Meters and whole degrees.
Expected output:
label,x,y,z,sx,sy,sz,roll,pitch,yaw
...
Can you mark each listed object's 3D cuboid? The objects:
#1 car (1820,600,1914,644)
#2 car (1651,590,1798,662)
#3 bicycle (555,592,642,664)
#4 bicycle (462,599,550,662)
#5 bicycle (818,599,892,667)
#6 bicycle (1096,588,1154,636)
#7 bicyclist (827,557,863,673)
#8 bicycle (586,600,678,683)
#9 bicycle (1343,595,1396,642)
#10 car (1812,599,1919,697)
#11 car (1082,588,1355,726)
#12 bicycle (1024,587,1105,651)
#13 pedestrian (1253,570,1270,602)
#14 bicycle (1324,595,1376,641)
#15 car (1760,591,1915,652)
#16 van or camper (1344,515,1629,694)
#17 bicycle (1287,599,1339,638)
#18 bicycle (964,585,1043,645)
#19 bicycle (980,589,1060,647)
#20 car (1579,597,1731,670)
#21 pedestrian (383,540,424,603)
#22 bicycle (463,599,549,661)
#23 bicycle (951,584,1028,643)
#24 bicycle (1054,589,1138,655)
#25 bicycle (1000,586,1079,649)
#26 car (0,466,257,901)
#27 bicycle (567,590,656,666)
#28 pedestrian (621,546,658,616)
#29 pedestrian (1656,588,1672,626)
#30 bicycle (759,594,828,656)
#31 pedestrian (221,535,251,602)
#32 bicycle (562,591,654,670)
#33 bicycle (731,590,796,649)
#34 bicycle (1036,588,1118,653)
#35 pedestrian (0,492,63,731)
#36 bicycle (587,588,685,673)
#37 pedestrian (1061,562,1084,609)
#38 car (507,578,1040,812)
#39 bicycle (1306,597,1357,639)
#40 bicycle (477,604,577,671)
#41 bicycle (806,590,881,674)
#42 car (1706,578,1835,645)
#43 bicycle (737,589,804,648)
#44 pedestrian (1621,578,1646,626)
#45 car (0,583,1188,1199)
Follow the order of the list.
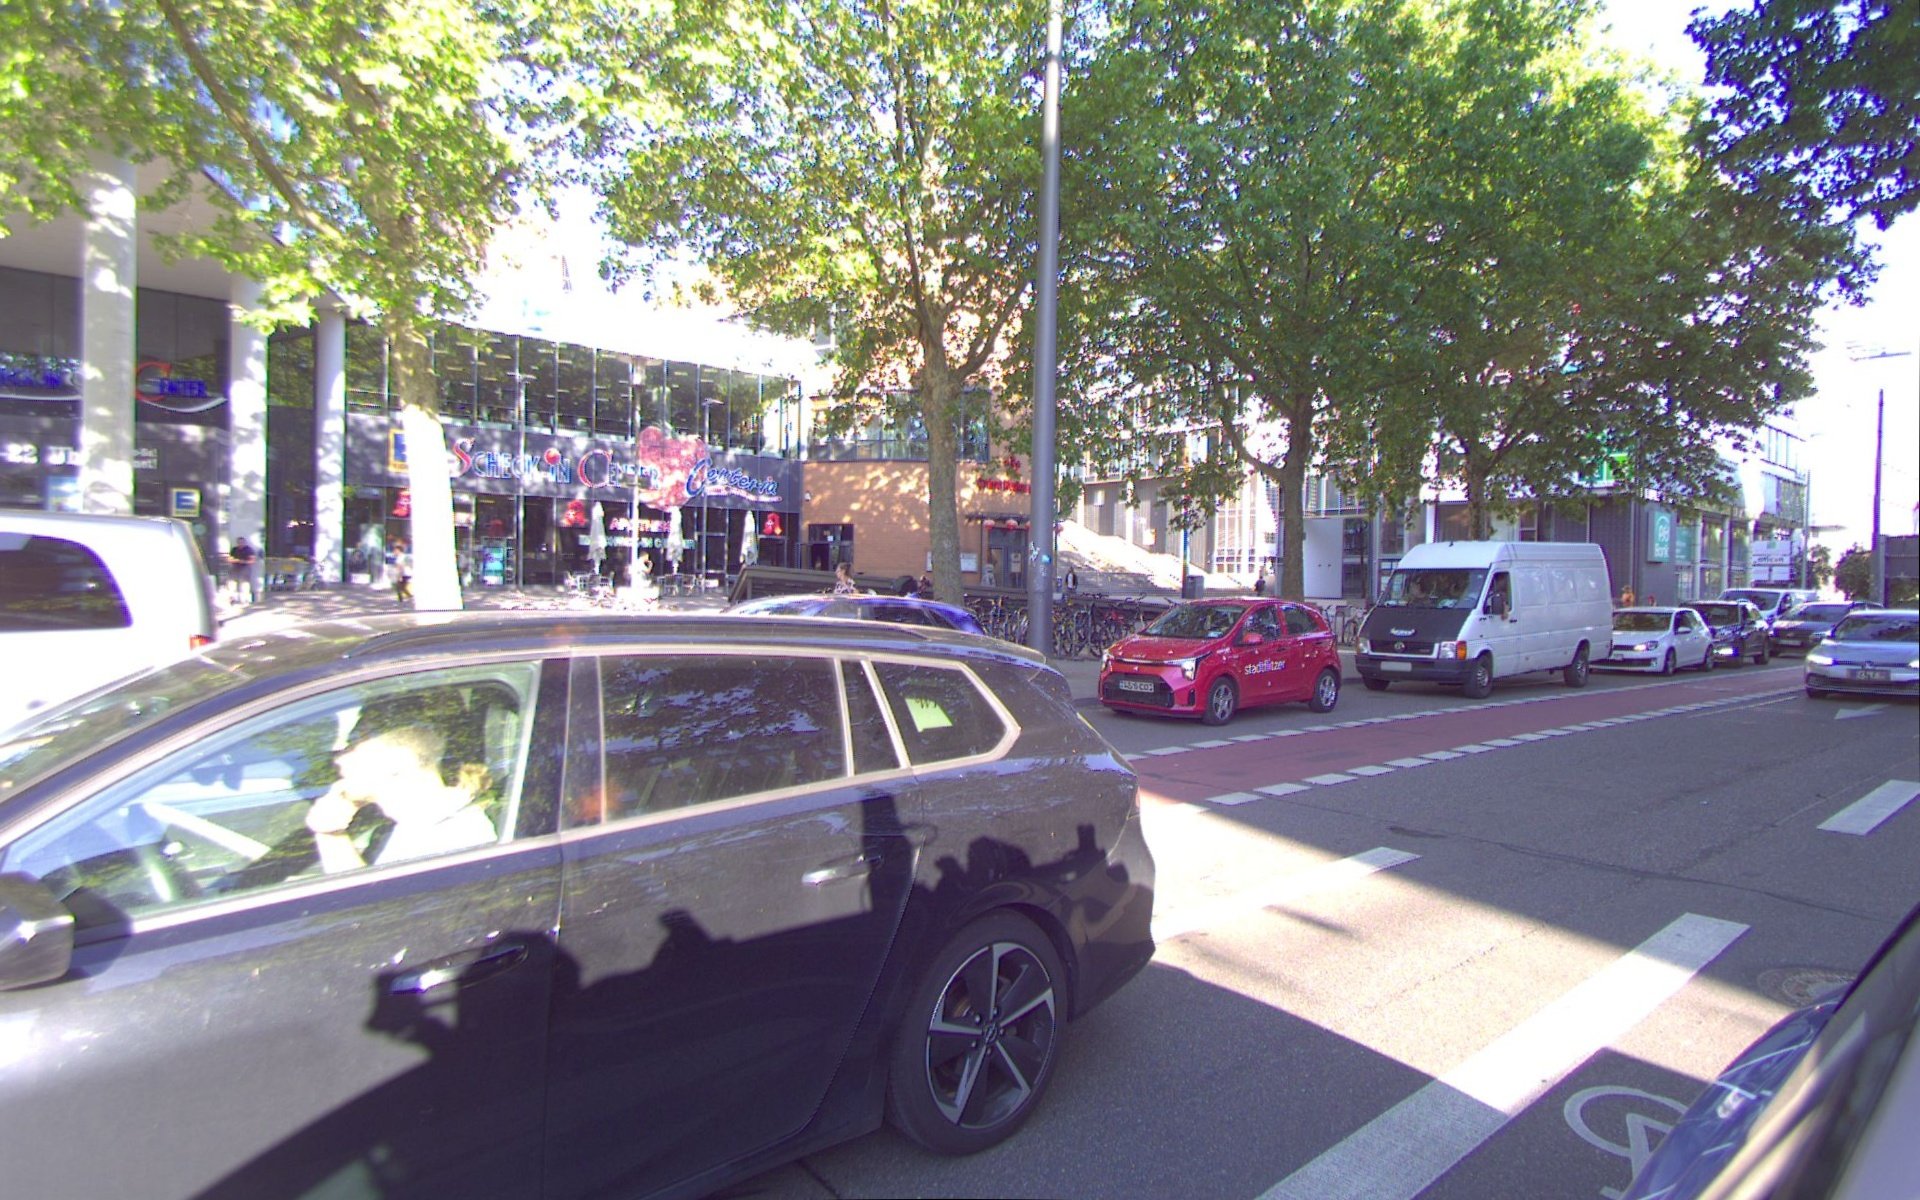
label,x,y,z,sx,sy,sz,roll,pitch,yaw
car,32.032,0.741,35.713,3.927,1.394,1.802,0,2,-38
car,19.117,0.593,25.258,4.148,1.640,1.819,0,1,-36
bicycle,-5.803,0.432,16.281,0.414,1.110,1.269,2,1,41
bicycle,-6.957,0.455,15.542,1.198,0.930,0.442,1,1,-22
bicycle,-1.770,0.539,17.117,1.202,1.110,0.420,0,1,-40
bicycle,4.414,0.308,27.038,1.759,1.209,0.517,0,2,-41
bicyclist,-1.797,0.228,15.814,0.392,1.782,0.390,0,1,-41
bicycle,-4.579,0.566,14.180,1.202,1.110,0.269,0,1,-40
bicycle,11.034,0.480,27.232,1.818,1.209,0.521,0,2,-41
car,15.579,0.714,16.625,3.928,1.458,1.733,0,0,-39
car,3.356,0.610,12.826,3.588,1.476,1.605,0,1,-41
bicycle,2.112,0.364,20.258,1.818,1.209,0.484,0,2,-41
pedestrian,15.064,-0.699,50.553,0.707,1.578,0.638,1,1,14
bicycle,10.666,0.470,27.631,1.818,1.209,0.495,0,2,-41
car,25.258,0.583,29.115,4.242,1.640,1.970,0,1,-28
van or camper,9.322,0.054,17.572,6.456,2.611,1.998,0,0,-39
bicycle,9.927,0.507,28.453,1.818,1.046,0.515,0,2,-41
bicycle,0.936,0.298,21.347,1.818,1.209,0.458,0,1,-41
bicycle,1.257,0.353,20.968,1.818,1.139,0.484,0,2,-41
car,15.330,0.678,22.265,3.927,1.446,1.683,0,1,-38
pedestrian,-15.608,-0.804,28.400,0.801,1.728,0.709,2,1,33
bicycle,-7.119,0.464,15.919,1.198,0.938,0.465,1,1,-22
bicycle,0.638,0.273,21.700,1.818,1.209,0.434,0,1,-41
bicycle,2.622,0.400,19.364,1.818,1.209,0.481,0,2,-41
bicycle,1.630,0.341,20.519,1.818,1.209,0.447,0,1,-41
car,-6.202,0.359,4.386,5.008,2.004,1.940,0,2,-41
bicycle,-5.358,0.407,15.587,0.372,1.110,1.269,2,1,41
pedestrian,-8.495,-0.499,26.846,0.869,1.805,0.604,1,1,-11
pedestrian,26.494,0.265,38.083,0.492,1.392,0.301,0,1,-37
bicycle,-3.100,0.446,18.847,1.202,1.110,0.427,0,1,-40
pedestrian,-18.746,-0.803,26.216,0.506,1.707,0.604,1,1,-23
bicycle,-5.156,0.426,14.839,1.202,1.110,0.396,0,1,-40
bicycle,-3.886,0.374,20.048,1.202,1.110,0.429,0,1,-40
bicycle,2.300,0.390,19.749,1.818,1.209,0.448,0,1,-41
pedestrian,-7.733,0.084,8.109,0.800,1.868,0.642,1,1,-42
bicycle,-4.433,0.401,13.883,1.202,1.110,0.413,0,1,-40
pedestrian,5.008,-0.633,45.033,0.575,2.062,0.876,1,1,-35
car,-1.407,0.604,8.647,4.177,1.503,1.742,0,2,-41
bicycle,10.310,0.482,28.043,1.766,1.108,0.522,0,2,-41
bicycle,-6.237,0.520,14.595,1.231,0.898,0.462,0,1,-40
bicycle,-1.810,0.482,15.816,1.126,1.271,0.379,0,1,-41
car,26.309,0.345,32.801,4.863,2.020,1.968,0,1,-35
bicycle,-3.641,0.345,19.504,1.202,1.110,0.444,0,1,-40
pedestrian,25.151,0.064,37.793,0.443,1.790,0.627,0,1,-39
car,-1.428,0.686,2.462,4.196,1.432,1.742,0,0,-41
